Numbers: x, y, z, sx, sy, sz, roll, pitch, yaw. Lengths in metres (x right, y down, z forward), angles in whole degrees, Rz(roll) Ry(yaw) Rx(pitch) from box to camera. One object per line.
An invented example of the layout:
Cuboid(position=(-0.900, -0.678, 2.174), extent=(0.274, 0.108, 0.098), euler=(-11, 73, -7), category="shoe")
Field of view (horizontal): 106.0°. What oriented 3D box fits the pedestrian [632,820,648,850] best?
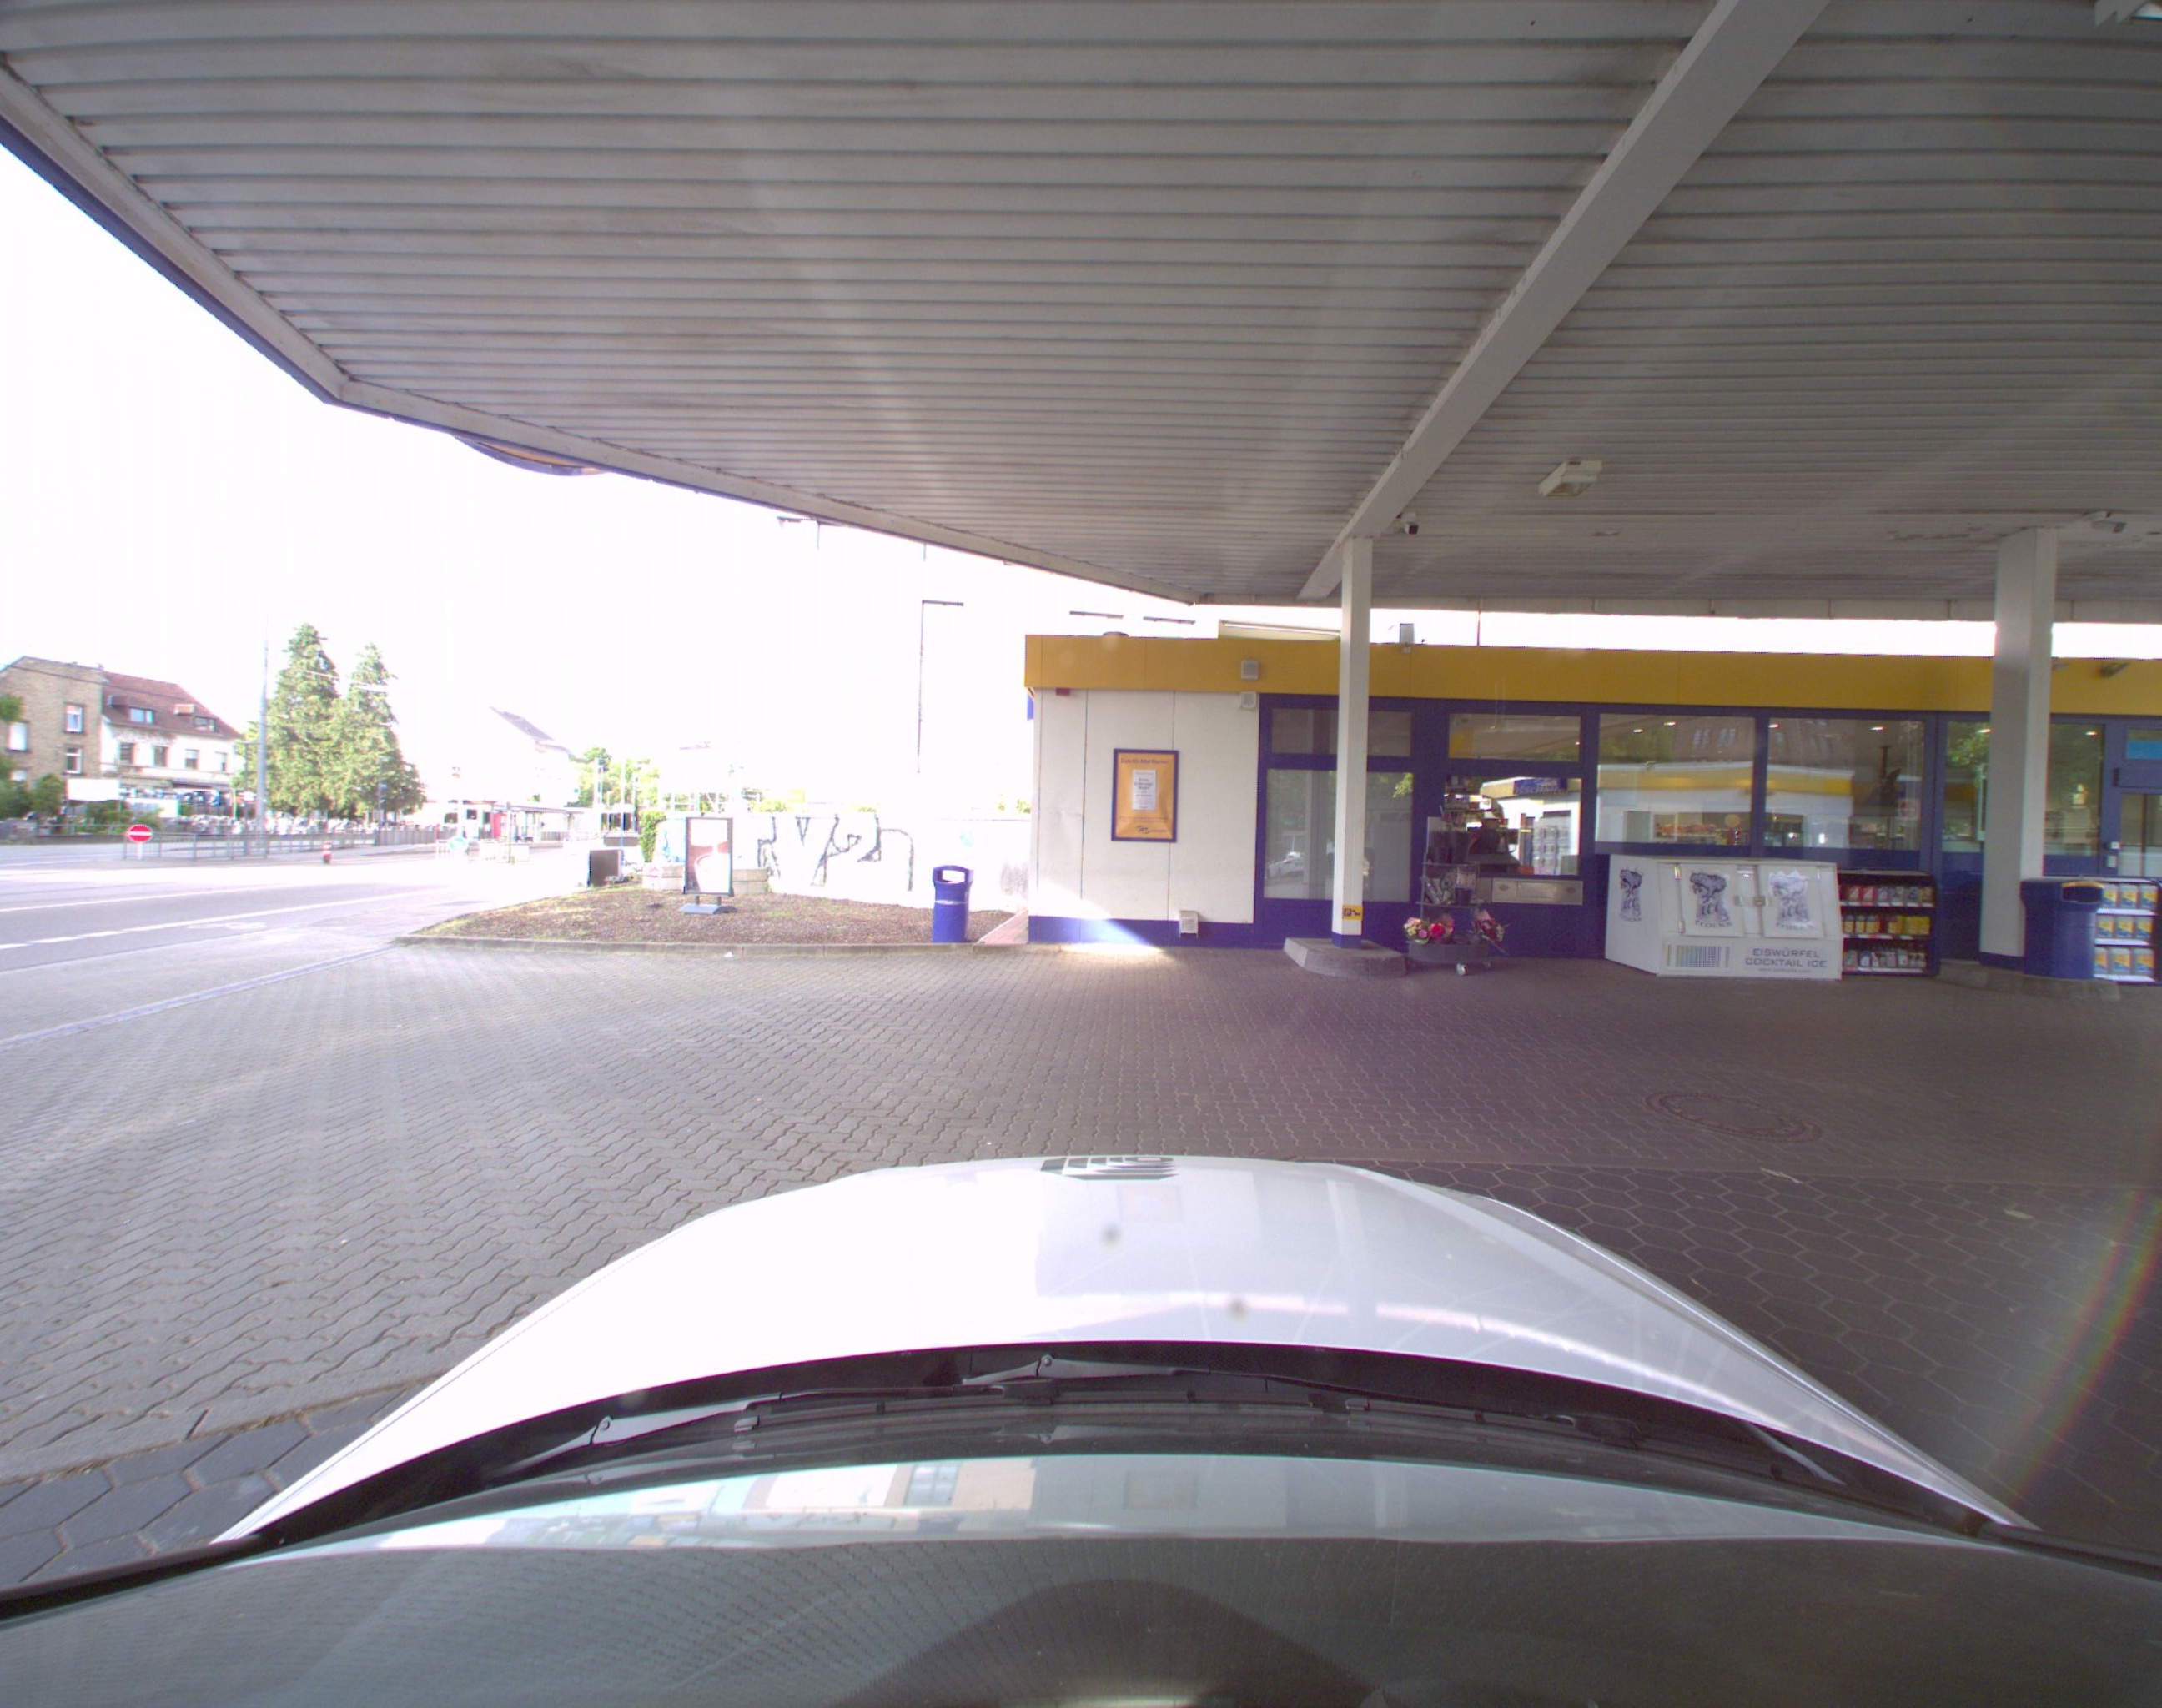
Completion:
Cuboid(position=(-30.147, -1.300, 55.681), extent=(0.807, 2.014, 0.846), euler=(0, -1, -14), category="pedestrian")
